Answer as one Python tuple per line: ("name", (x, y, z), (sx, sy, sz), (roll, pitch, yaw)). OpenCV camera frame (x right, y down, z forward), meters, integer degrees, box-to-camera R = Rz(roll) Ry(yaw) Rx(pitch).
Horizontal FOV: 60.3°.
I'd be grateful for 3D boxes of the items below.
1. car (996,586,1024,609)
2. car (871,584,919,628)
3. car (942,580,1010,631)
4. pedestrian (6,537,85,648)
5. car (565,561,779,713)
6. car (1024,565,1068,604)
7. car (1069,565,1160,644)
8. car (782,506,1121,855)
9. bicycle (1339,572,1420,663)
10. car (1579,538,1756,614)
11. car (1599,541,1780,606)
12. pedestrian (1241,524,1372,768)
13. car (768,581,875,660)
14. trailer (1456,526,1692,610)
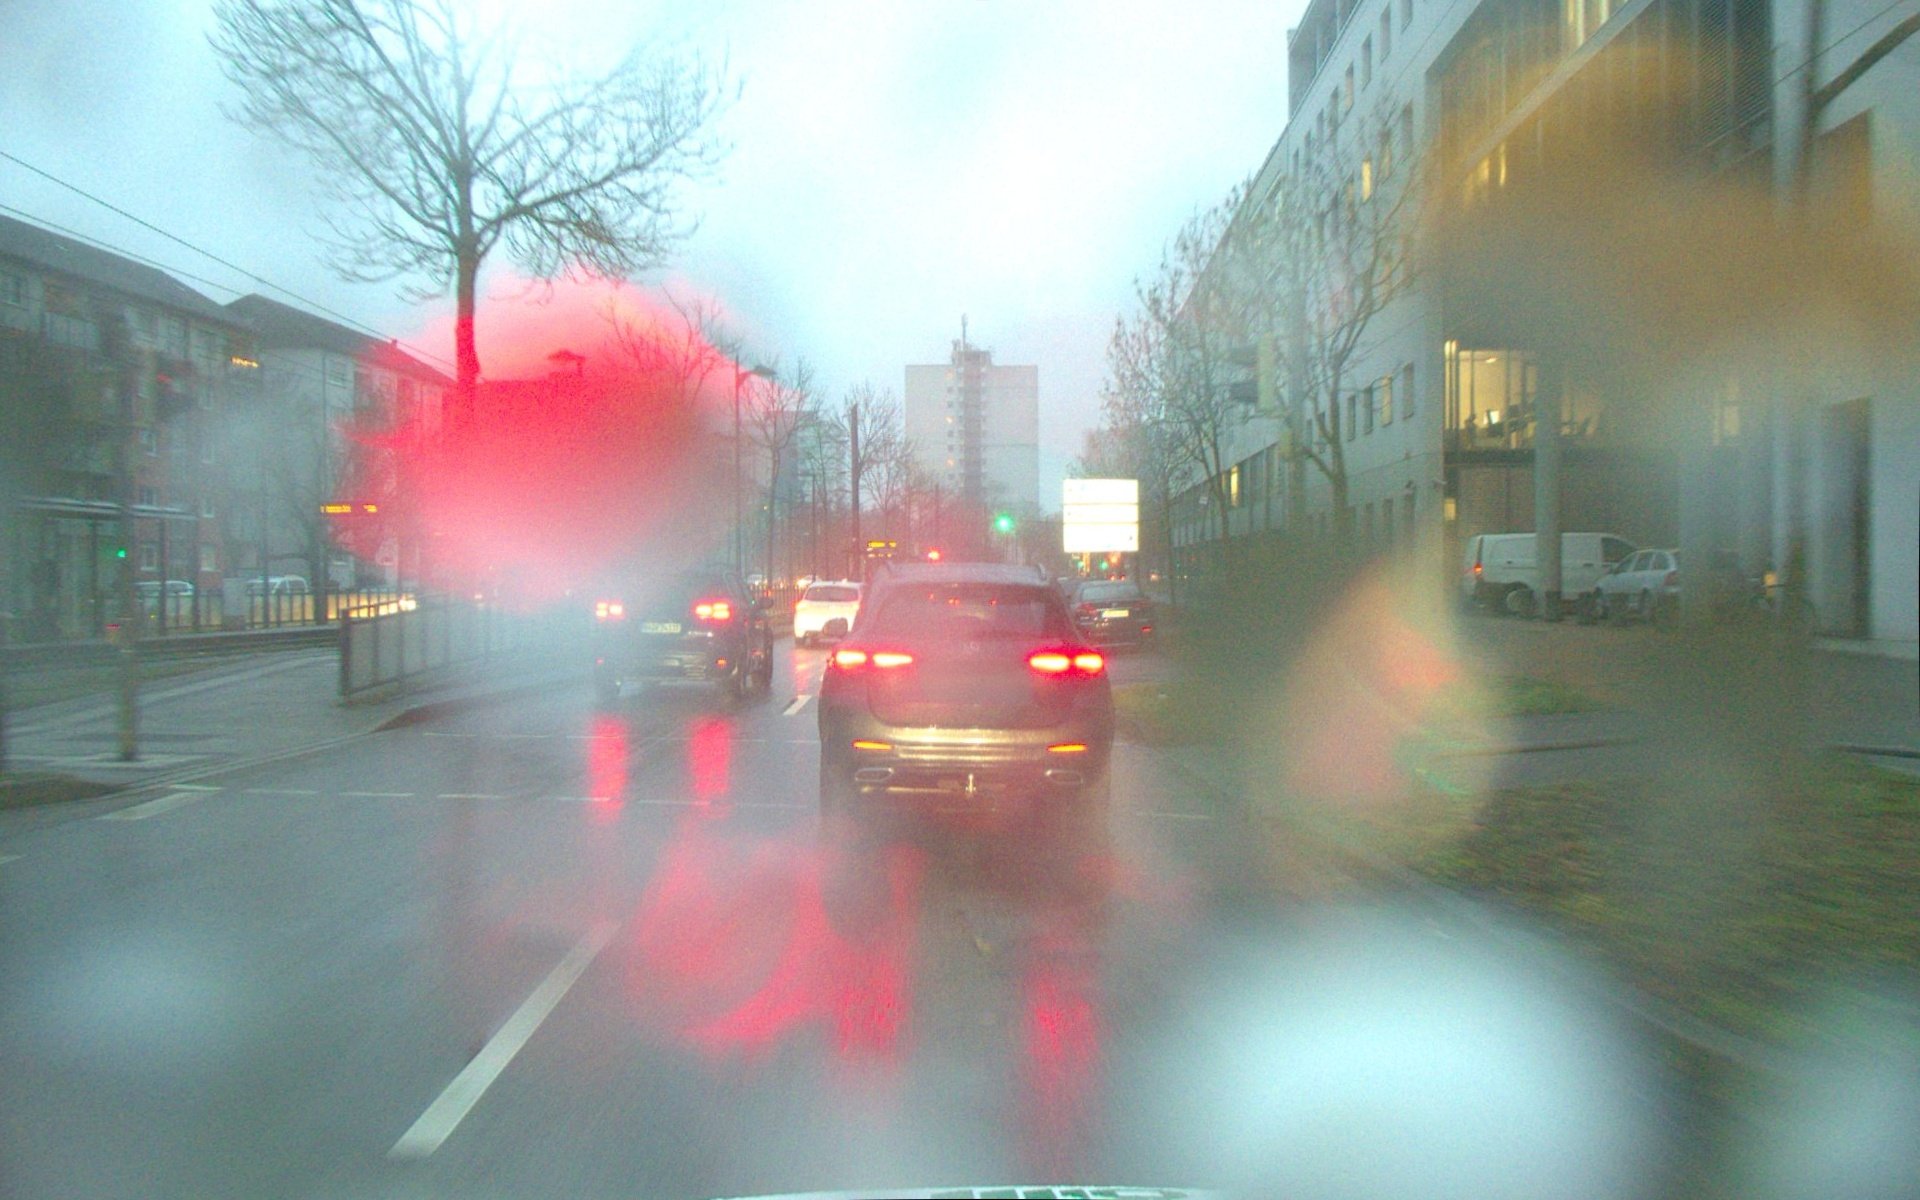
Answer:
("car", (3.391, -0.164, 111.352), (1.733, 1.528, 3.370), (1, 0, 5))
("car", (-2.286, 0.212, 58.645), (1.563, 1.467, 3.205), (1, 0, -1))
("car", (0.506, 0.127, 48.348), (1.847, 1.377, 4.103), (1, 1, 2))
("pedestrian", (-17.311, -0.128, 31.311), (1.130, 2.049, 0.948), (1, -1, -41))
("car", (-3.611, 0.441, 21.543), (1.952, 1.742, 4.325), (1, 0, 1))
("car", (3.958, -0.699, 76.026), (1.952, 1.720, 3.530), (1, 0, 3))
("car", (3.088, 0.096, 33.711), (1.563, 1.465, 4.229), (1, 0, 2))
("car", (-0.064, 0.482, 11.730), (1.953, 2.010, 4.067), (1, 0, -1))
("bicycle", (5.516, 0.226, 21.839), (0.539, 1.135, 2.166), (-2, 0, 2))
("car", (14.143, -0.435, 33.336), (1.598, 1.395, 4.530), (1, 0, 0))
("car", (18.495, -0.677, 42.050), (3.902, 1.544, 1.659), (-1, 1, 9))
("pedestrian", (2.742, 0.359, 13.166), (0.755, 1.840, 0.699), (-4, -1, -1))
("car", (-3.121, 0.457, 37.961), (1.952, 1.671, 4.023), (1, 0, 2))
("trailer", (14.694, -0.781, 39.861), (4.959, 1.944, 2.132), (0, 2, 7))
